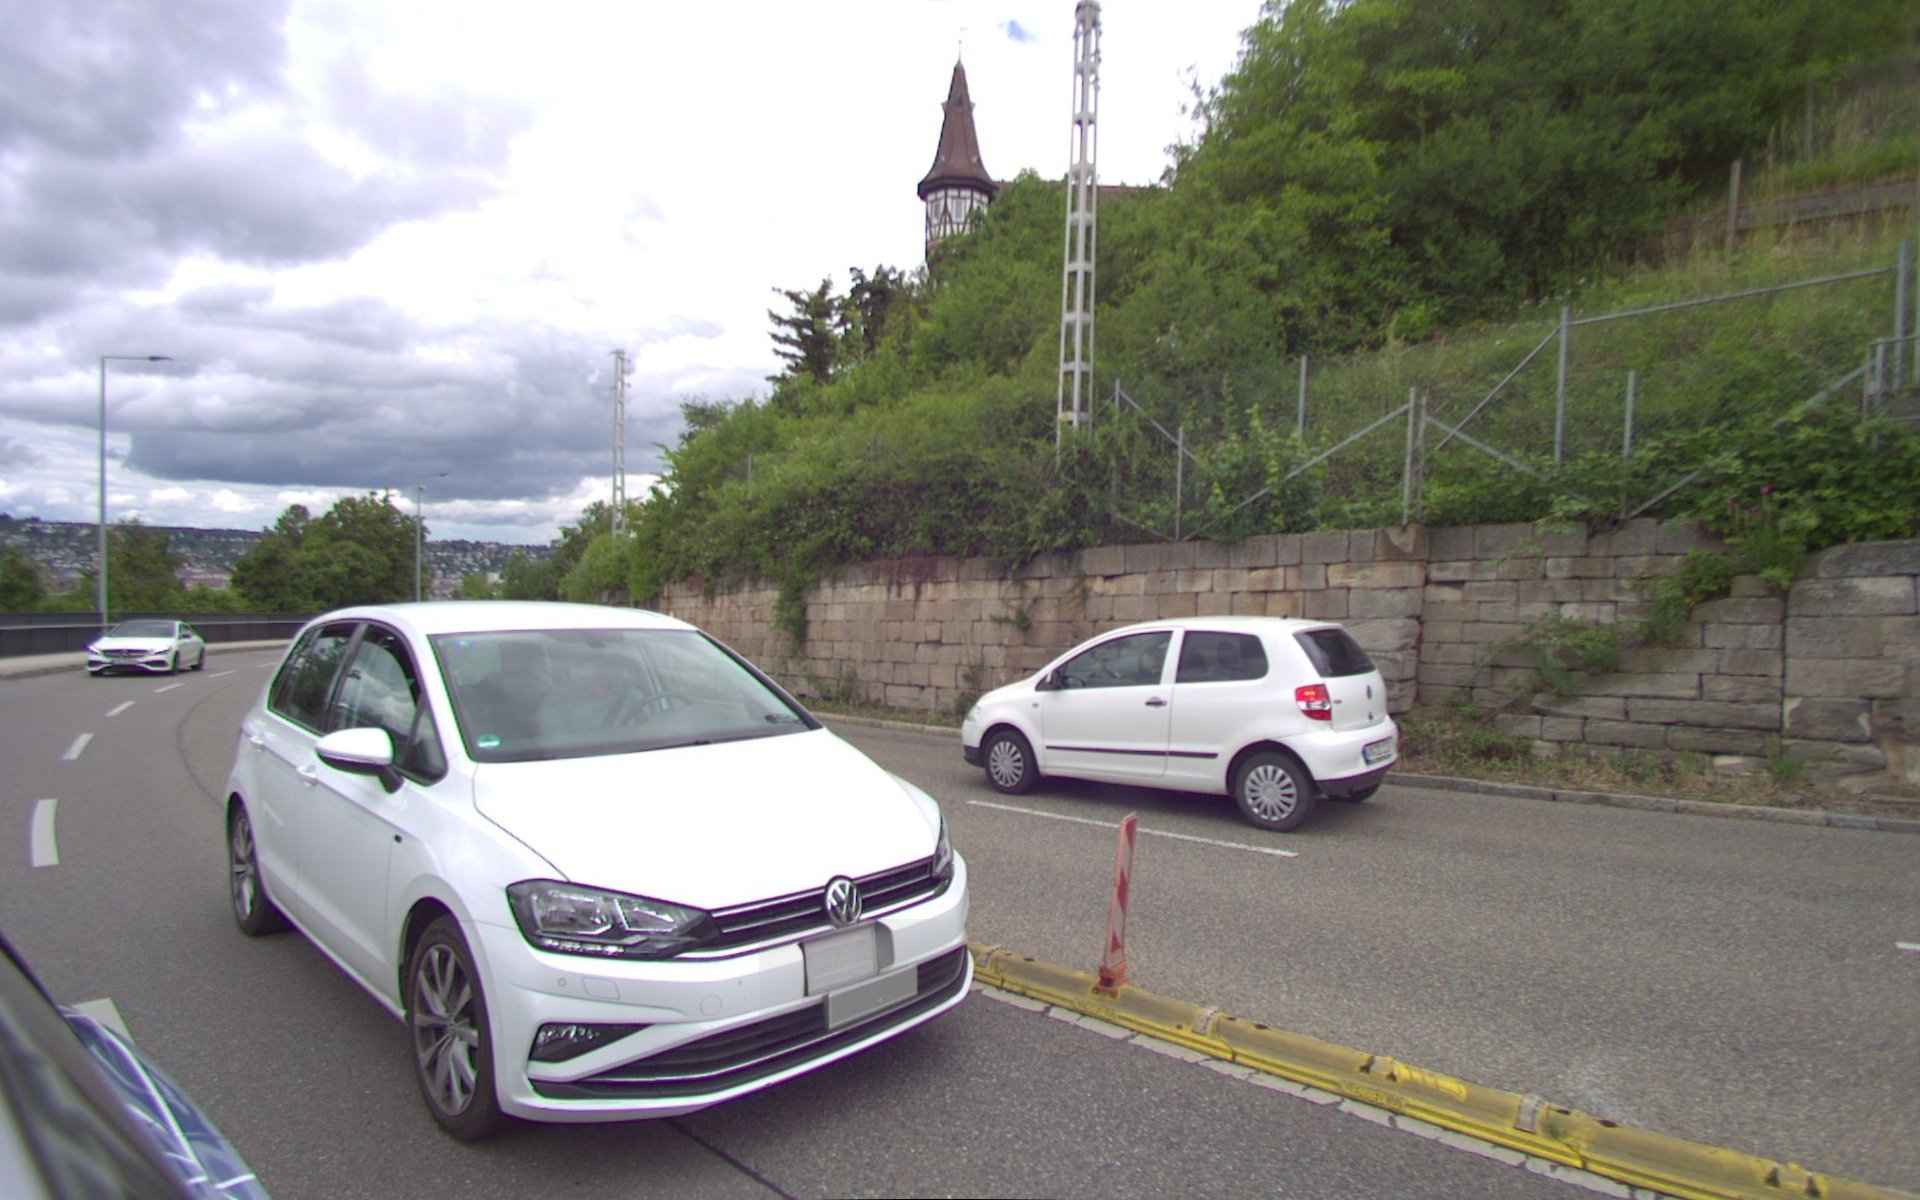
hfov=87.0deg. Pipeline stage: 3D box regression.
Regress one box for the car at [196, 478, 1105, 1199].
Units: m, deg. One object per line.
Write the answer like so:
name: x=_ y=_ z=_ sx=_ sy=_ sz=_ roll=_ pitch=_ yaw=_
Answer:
car: x=-1.687 y=0.674 z=4.214 sx=1.799 sy=1.592 sz=4.359 roll=5 pitch=-5 yaw=-44

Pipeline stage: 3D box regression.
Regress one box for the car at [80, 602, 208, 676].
car: x=-21.572 y=0.994 z=26.937 sx=1.966 sy=1.731 sz=4.012 roll=3 pitch=-1 yaw=-30

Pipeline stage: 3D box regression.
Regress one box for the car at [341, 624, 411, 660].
car: x=-25.954 y=1.823 z=45.116 sx=1.869 sy=1.505 sz=4.154 roll=0 pitch=-1 yaw=-18

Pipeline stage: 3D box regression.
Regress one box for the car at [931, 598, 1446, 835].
car: x=1.780 y=0.815 z=8.666 sx=3.999 sy=1.560 sz=1.683 roll=-1 pitch=-2 yaw=42

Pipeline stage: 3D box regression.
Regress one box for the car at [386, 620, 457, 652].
car: x=-26.906 y=1.775 z=50.682 sx=1.894 sy=1.505 sz=4.149 roll=-1 pitch=-1 yaw=-9
